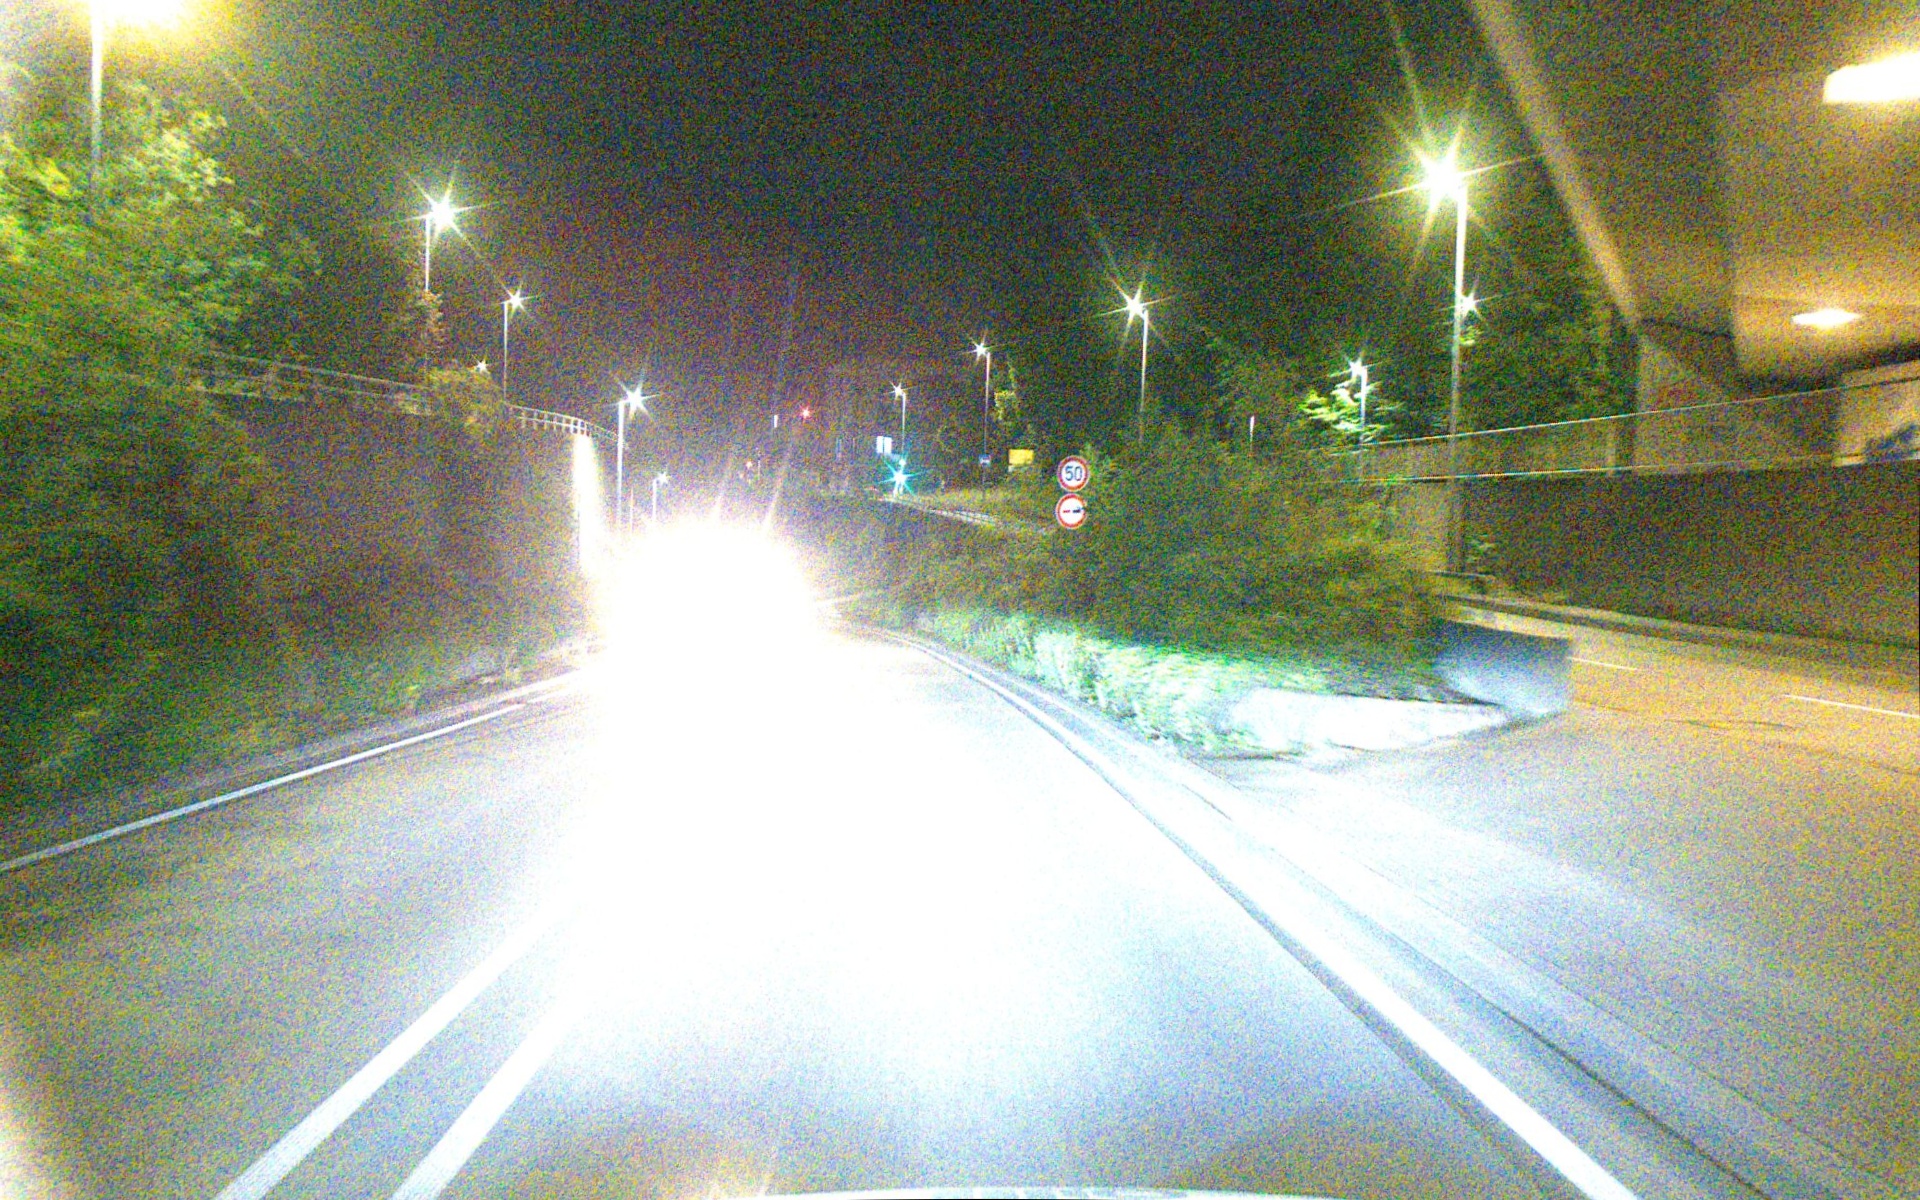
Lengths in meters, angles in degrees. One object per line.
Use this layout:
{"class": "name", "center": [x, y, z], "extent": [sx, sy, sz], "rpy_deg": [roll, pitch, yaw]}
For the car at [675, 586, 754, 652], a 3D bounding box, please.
{"class": "car", "center": [-5.980, 0.434, 40.664], "extent": [1.823, 1.536, 3.994], "rpy_deg": [0, 0, -7]}
